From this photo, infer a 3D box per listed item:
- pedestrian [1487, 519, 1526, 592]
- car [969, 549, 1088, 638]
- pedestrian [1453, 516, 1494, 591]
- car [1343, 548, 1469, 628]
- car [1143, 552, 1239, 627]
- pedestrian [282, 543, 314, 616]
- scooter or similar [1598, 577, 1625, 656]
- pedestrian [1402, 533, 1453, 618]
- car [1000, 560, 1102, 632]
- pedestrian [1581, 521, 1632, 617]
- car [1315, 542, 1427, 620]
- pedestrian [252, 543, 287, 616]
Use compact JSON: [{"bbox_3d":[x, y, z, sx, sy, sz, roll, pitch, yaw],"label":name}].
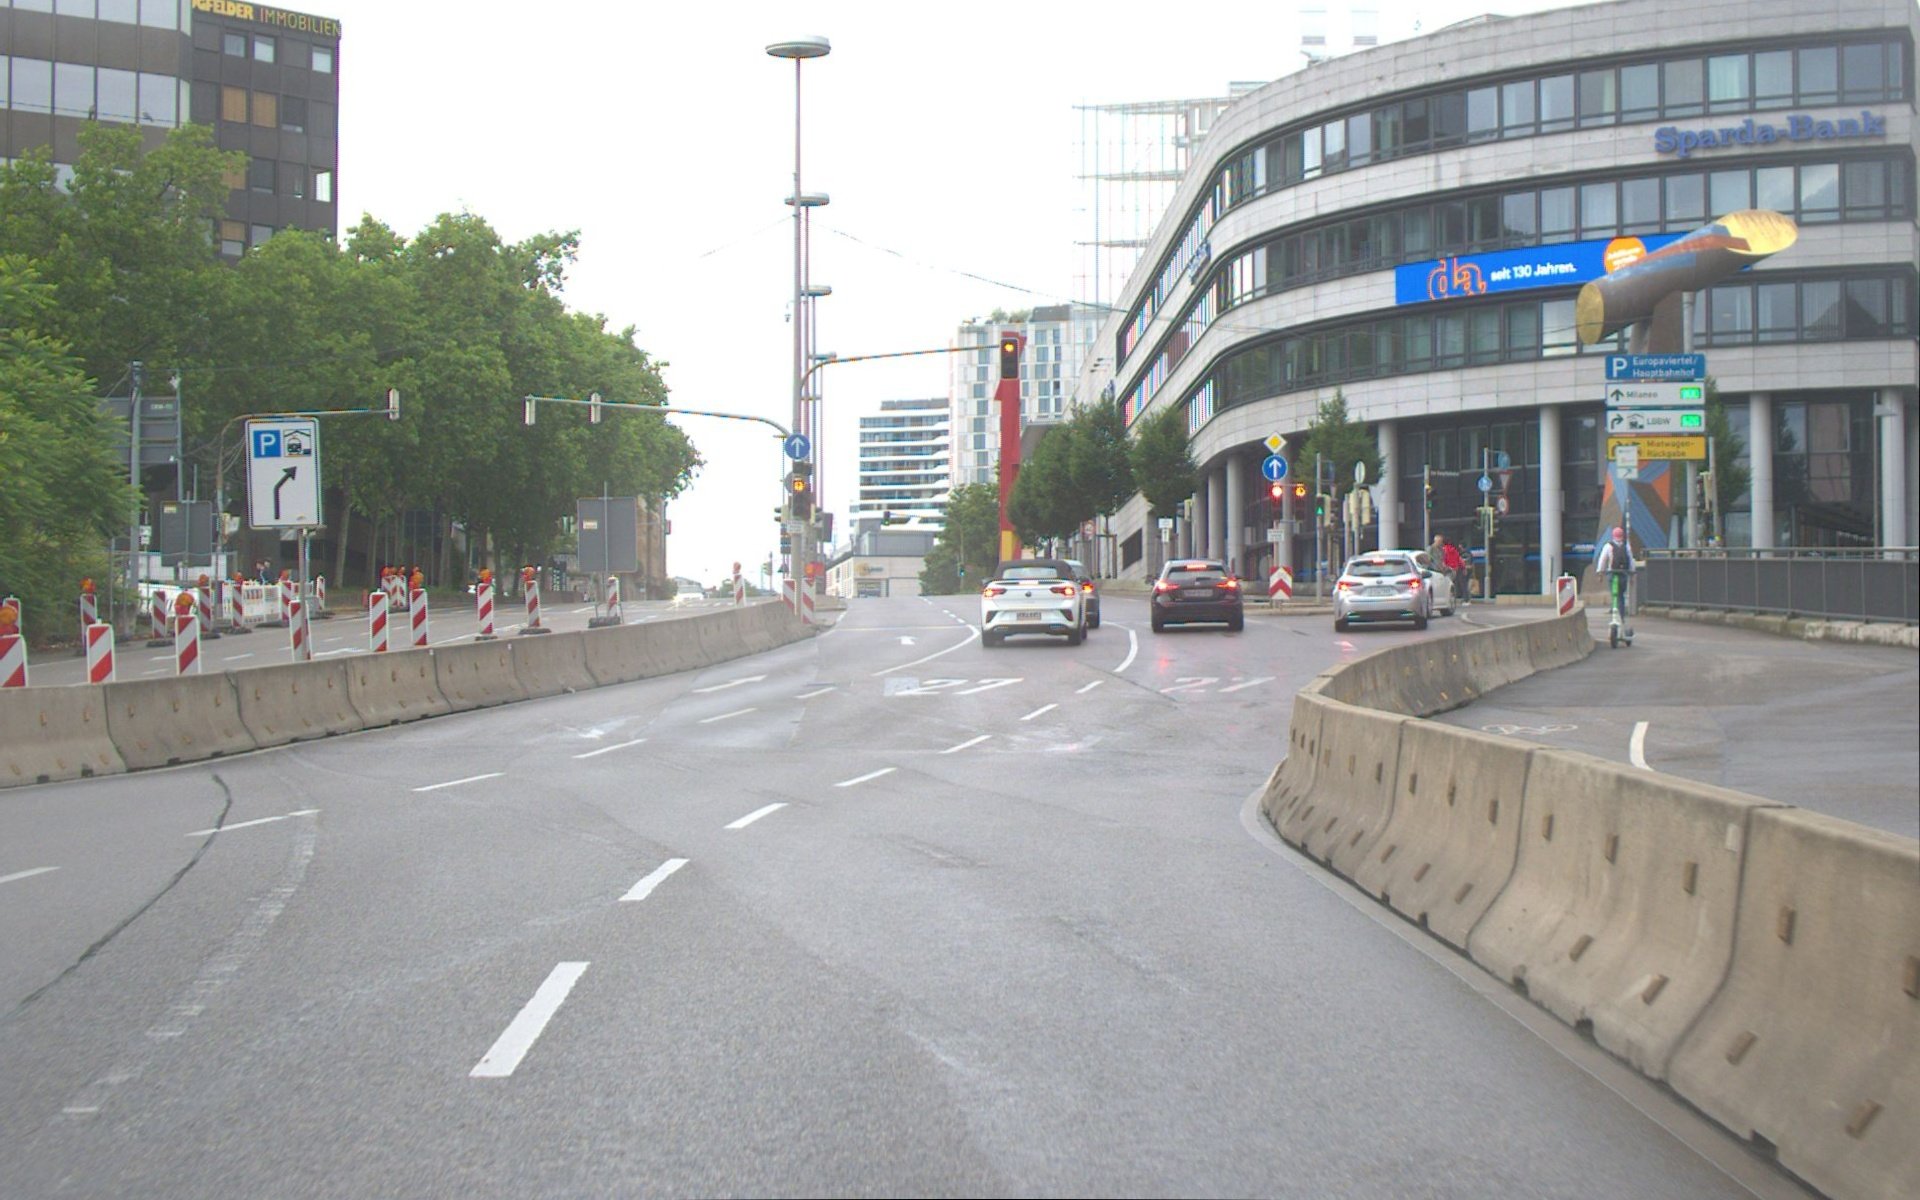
[{"bbox_3d":[14.401,-1.158,90.593,0.841,1.898,0.731,-1,0,25],"label":"pedestrian"},{"bbox_3d":[1.280,-0.150,62.489,1.964,1.543,4.218,0,1,4],"label":"car"},{"bbox_3d":[13.337,-1.200,89.291,0.841,1.898,0.860,-1,-2,25],"label":"pedestrian"},{"bbox_3d":[9.573,-0.278,73.535,1.773,1.628,4.576,0,1,19],"label":"car"},{"bbox_3d":[4.545,-0.184,68.098,1.755,1.402,4.227,1,0,2],"label":"car"},{"bbox_3d":[-17.447,-0.528,90.626,0.672,1.895,0.775,0,-2,2],"label":"pedestrian"},{"bbox_3d":[9.638,0.246,50.842,0.349,1.158,0.572,0,0,14],"label":"scooter or similar"},{"bbox_3d":[11.683,-0.611,85.970,0.852,2.091,0.904,1,0,-24],"label":"pedestrian"},{"bbox_3d":[1.854,-0.105,71.152,1.739,1.438,4.001,0,1,-4],"label":"car"},{"bbox_3d":[11.647,-0.559,61.912,0.729,1.705,0.843,0,-2,-1],"label":"pedestrian"},{"bbox_3d":[7.933,-0.346,66.645,1.701,1.446,4.615,0,0,1],"label":"car"},{"bbox_3d":[-18.207,-0.537,90.649,0.761,1.916,0.742,0,-2,2],"label":"pedestrian"}]
